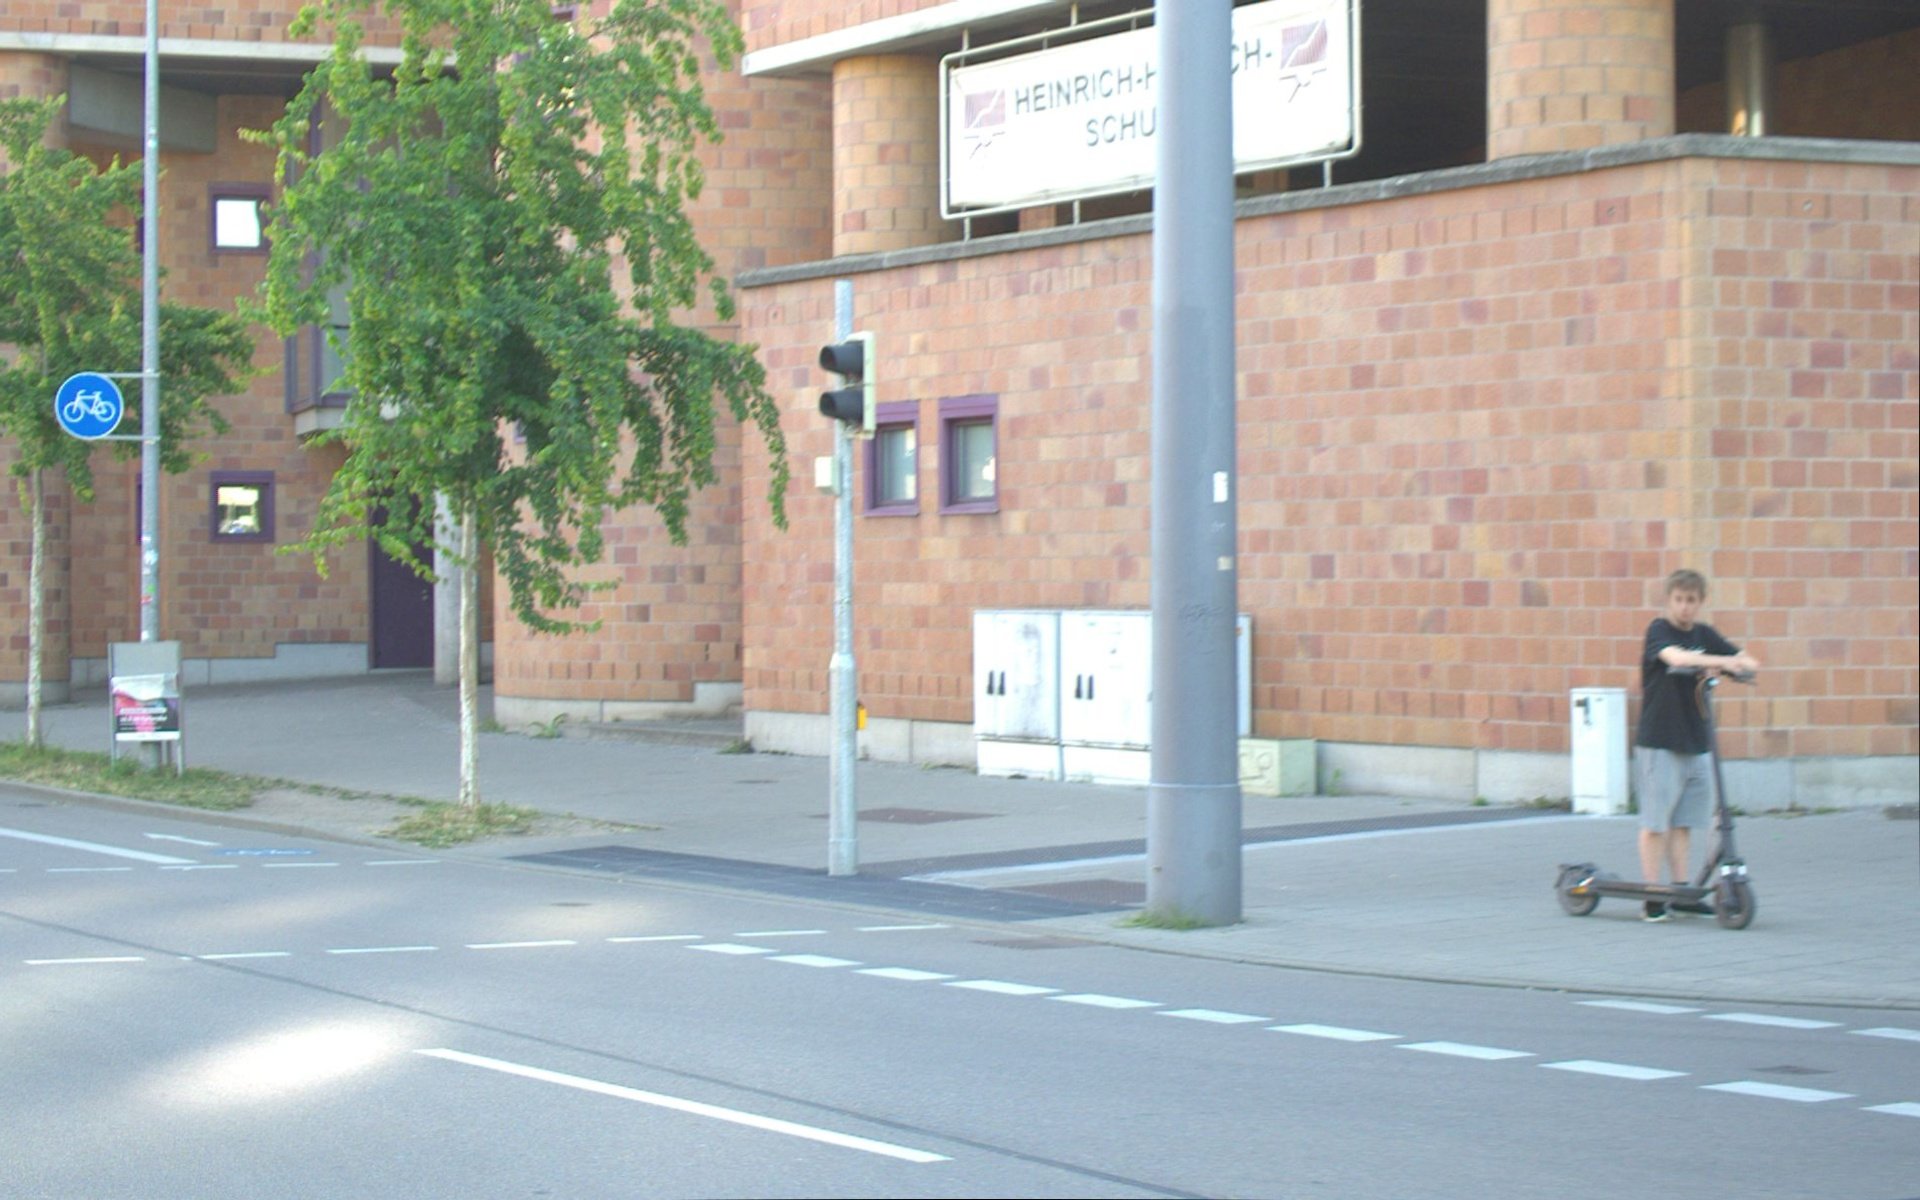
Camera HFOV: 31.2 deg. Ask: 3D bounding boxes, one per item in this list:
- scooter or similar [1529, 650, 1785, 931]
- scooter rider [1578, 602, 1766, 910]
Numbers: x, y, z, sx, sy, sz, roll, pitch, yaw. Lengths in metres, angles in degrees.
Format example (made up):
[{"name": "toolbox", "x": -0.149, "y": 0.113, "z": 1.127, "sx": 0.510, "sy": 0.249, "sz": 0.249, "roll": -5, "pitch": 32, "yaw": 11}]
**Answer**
[{"name": "scooter or similar", "x": 3.399, "y": 0.907, "z": 16.805, "sx": 0.527, "sy": 1.313, "sz": 1.132, "roll": 0, "pitch": 0, "yaw": -40}, {"name": "scooter rider", "x": 3.462, "y": 0.741, "z": 16.731, "sx": 0.506, "sy": 1.456, "sz": 0.722, "roll": 0, "pitch": 0, "yaw": -39}]
